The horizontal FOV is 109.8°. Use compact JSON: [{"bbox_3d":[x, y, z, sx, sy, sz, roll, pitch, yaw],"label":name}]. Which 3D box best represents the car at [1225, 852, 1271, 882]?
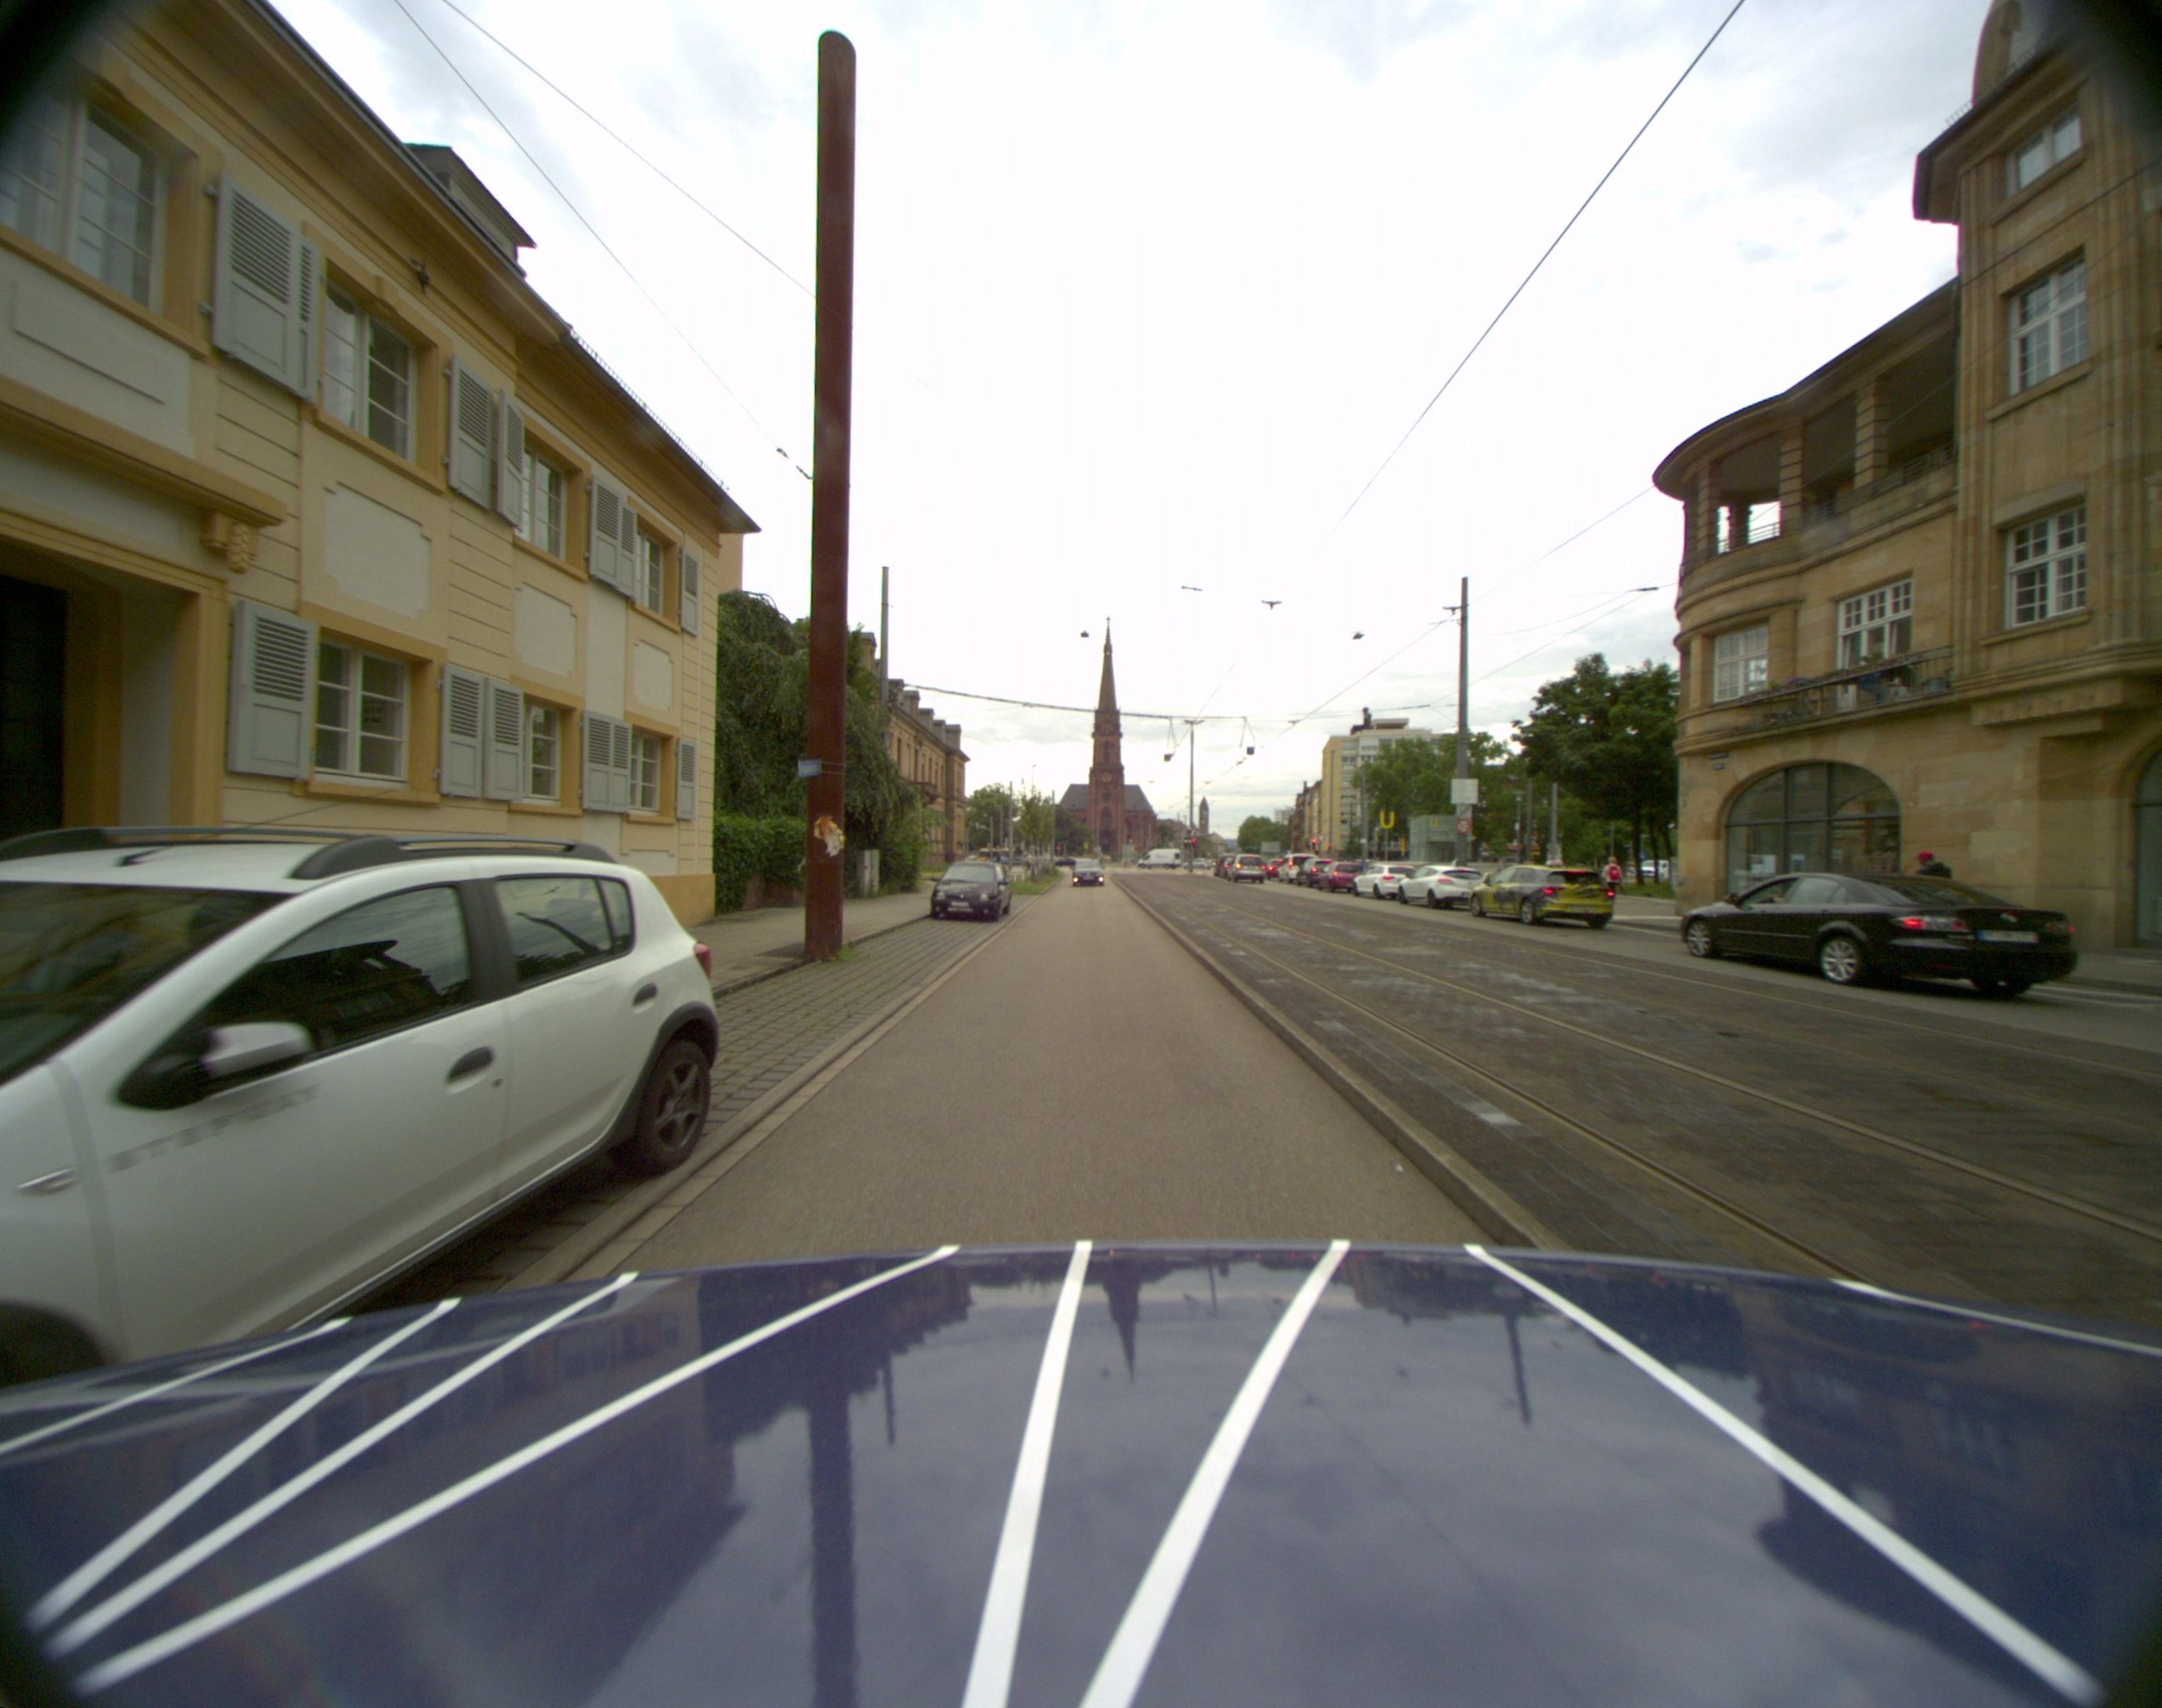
[{"bbox_3d":[10.329,0.780,47.384,1.867,1.696,4.909,2,0,2],"label":"car"}]

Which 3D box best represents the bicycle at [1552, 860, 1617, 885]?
[{"bbox_3d":[30.240,1.089,45.682,0.962,1.346,3.112,-1,1,-31],"label":"bicycle"}]

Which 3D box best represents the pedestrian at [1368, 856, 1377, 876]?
[{"bbox_3d":[25.370,1.041,66.063,0.601,1.718,0.914,1,0,26],"label":"pedestrian"}]

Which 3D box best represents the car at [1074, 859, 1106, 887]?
[{"bbox_3d":[0.454,0.984,41.428,1.655,1.404,4.000,1,0,-1],"label":"car"}]

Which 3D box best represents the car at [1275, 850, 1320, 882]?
[{"bbox_3d":[13.699,0.731,48.345,1.867,1.905,5.103,1,0,5],"label":"car"}]

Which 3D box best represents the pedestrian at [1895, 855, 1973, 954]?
[{"bbox_3d":[15.189,0.873,13.545,0.496,1.718,0.765,0,0,-3],"label":"pedestrian"}]

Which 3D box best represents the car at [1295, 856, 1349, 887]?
[{"bbox_3d":[13.156,0.920,41.735,1.867,1.525,4.304,2,0,5],"label":"car"}]

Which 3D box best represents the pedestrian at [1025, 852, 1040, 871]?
[{"bbox_3d":[-4.932,0.784,77.615,1.282,1.856,0.889,1,0,34],"label":"pedestrian"}]

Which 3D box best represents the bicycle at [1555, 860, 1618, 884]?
[{"bbox_3d":[31.146,1.072,46.853,0.962,1.346,3.112,-1,1,-31],"label":"bicycle"}]

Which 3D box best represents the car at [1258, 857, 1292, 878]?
[{"bbox_3d":[13.899,0.936,54.659,1.692,1.433,4.001,1,0,4],"label":"car"}]

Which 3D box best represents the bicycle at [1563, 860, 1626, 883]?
[{"bbox_3d":[32.181,1.062,47.669,0.962,1.346,3.112,-1,1,-31],"label":"bicycle"}]

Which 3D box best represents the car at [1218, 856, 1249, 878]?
[{"bbox_3d":[10.800,0.879,54.157,1.692,1.433,4.001,1,0,4],"label":"car"}]

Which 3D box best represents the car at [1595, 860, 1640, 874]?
[{"bbox_3d":[58.888,1.426,83.400,1.644,1.412,3.727,0,0,-42],"label":"car"}]

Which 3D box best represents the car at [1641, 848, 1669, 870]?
[{"bbox_3d":[56.241,0.471,74.426,1.766,2.002,4.008,1,2,42],"label":"car"}]

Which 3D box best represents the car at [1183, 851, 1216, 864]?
[{"bbox_3d":[16.325,0.507,104.452,3.988,1.740,2.004,1,2,37],"label":"car"}]

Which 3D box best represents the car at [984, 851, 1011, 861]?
[{"bbox_3d":[-13.272,0.339,120.632,4.047,1.483,2.005,-2,-4,38],"label":"car"}]

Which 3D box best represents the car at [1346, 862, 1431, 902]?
[{"bbox_3d":[12.417,1.074,30.957,1.751,1.372,4.362,3,0,2],"label":"car"}]

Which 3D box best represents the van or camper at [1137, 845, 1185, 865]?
[{"bbox_3d":[10.875,0.131,103.383,6.033,2.596,2.428,1,2,37],"label":"van or camper"}]

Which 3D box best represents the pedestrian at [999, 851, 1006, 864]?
[{"bbox_3d":[-11.629,0.493,112.174,0.782,1.932,0.980,1,0,-22],"label":"pedestrian"}]

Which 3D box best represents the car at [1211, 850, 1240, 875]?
[{"bbox_3d":[11.271,0.631,59.496,1.692,1.889,4.388,1,0,5],"label":"car"}]

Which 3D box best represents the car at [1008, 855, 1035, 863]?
[{"bbox_3d":[-9.187,0.728,116.900,3.730,1.239,1.694,0,0,14],"label":"car"}]

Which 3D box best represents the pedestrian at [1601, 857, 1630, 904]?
[{"bbox_3d":[19.486,0.962,27.710,0.533,1.709,0.631,0,1,-19],"label":"pedestrian"}]

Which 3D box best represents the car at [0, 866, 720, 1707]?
[{"bbox_3d":[-2.830,0.887,2.052,1.759,1.565,3.930,3,0,0],"label":"car"}]

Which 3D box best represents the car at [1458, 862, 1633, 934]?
[{"bbox_3d":[11.388,0.994,19.057,1.903,1.502,4.429,2,0,4],"label":"car"}]

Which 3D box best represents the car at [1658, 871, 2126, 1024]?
[{"bbox_3d":[10.306,1.032,10.359,1.830,1.425,4.671,3,0,9],"label":"car"}]

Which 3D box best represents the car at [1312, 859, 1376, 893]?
[{"bbox_3d":[12.487,1.011,36.310,1.867,1.391,3.896,3,0,4],"label":"car"}]

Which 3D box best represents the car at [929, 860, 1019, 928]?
[{"bbox_3d":[-2.602,0.924,19.249,1.641,1.425,3.930,3,0,0],"label":"car"}]

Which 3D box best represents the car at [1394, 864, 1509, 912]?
[{"bbox_3d":[12.005,1.040,24.972,1.931,1.372,4.259,0,0,4],"label":"car"}]
